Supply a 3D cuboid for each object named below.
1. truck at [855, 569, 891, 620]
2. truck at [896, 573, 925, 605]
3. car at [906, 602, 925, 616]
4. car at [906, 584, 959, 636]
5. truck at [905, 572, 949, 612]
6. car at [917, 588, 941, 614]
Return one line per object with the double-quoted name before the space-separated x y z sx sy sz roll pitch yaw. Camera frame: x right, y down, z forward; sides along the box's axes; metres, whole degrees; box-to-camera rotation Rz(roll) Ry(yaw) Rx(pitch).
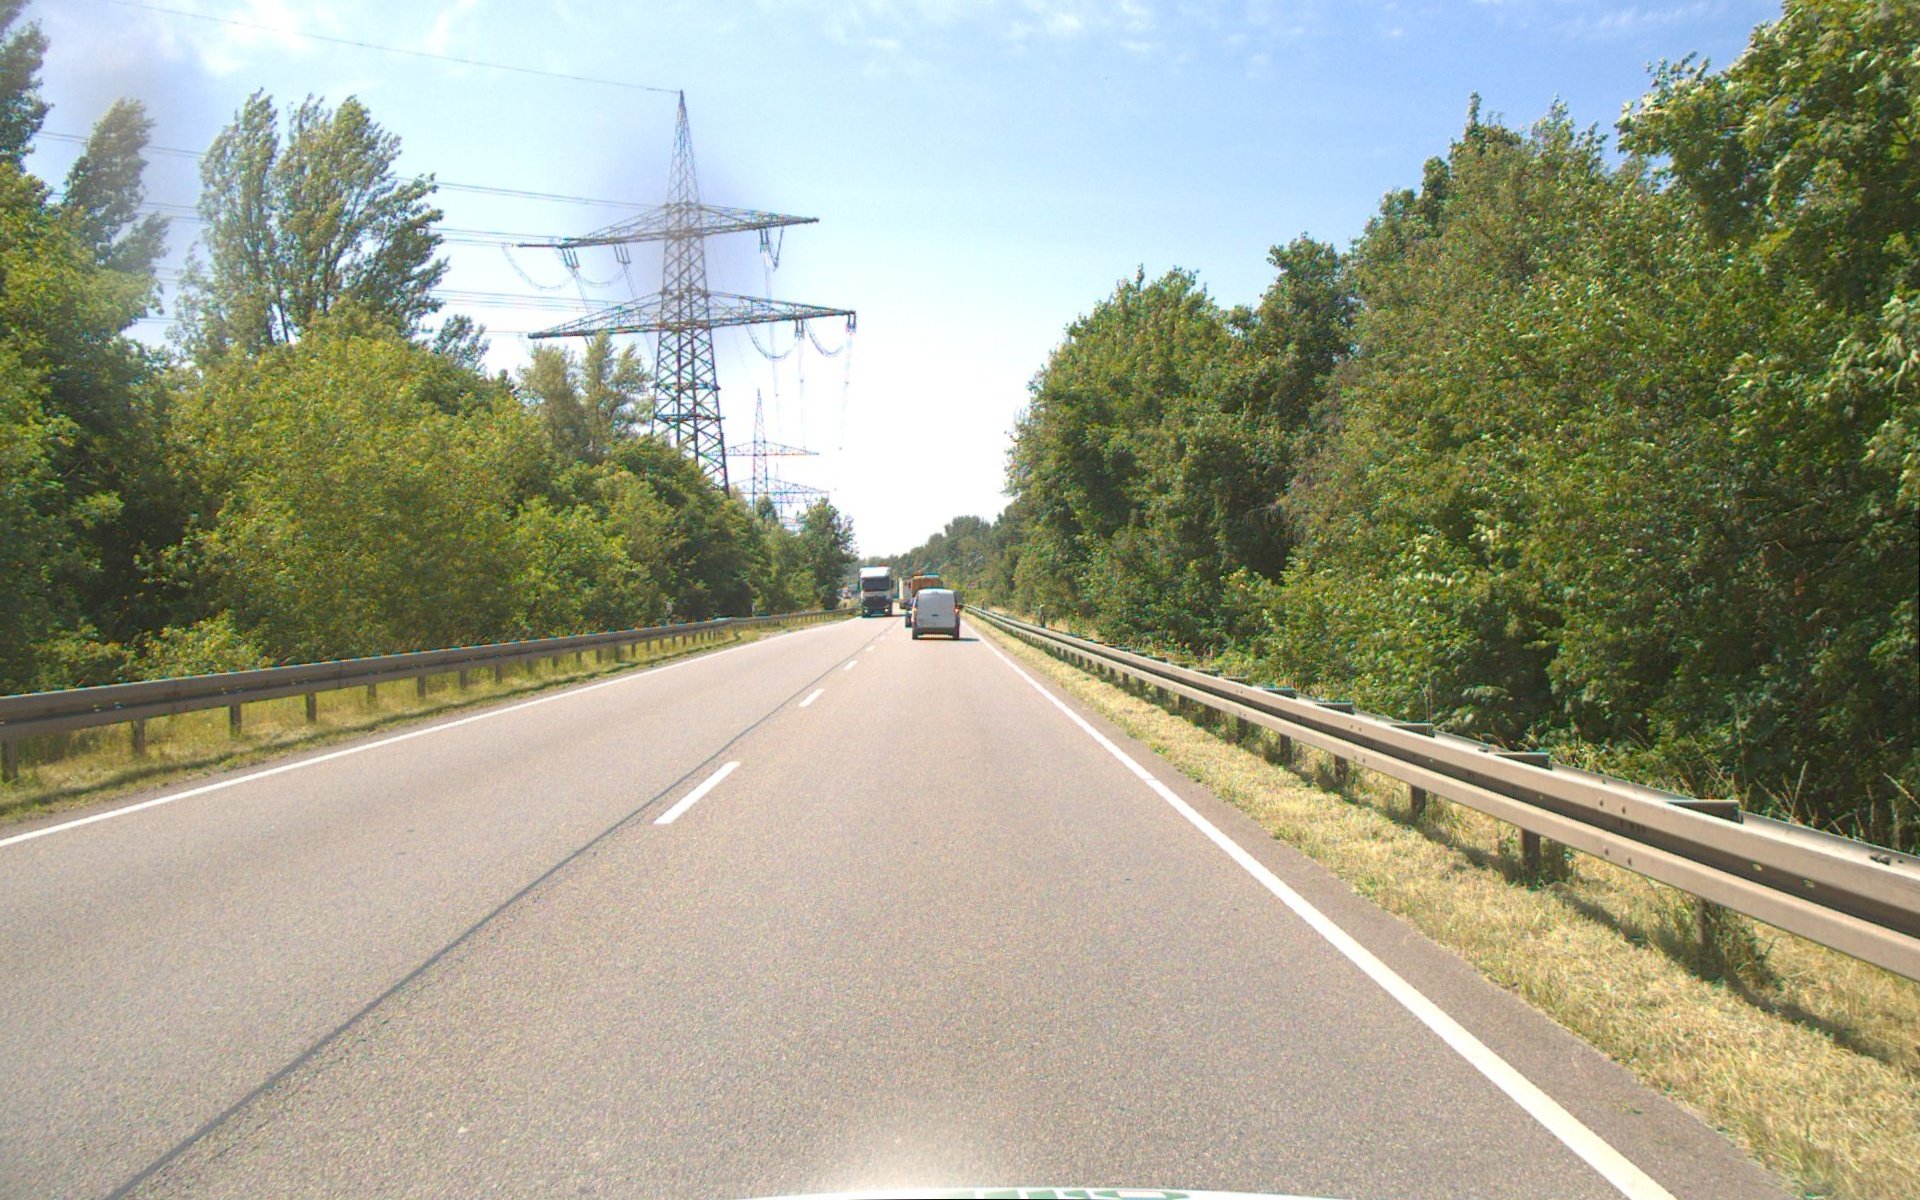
"truck" -7.117 -0.419 136.193 2.707 4.069 5.905 1 0 -1
"truck" -6.604 -1.560 219.432 3.335 3.922 16.807 1 1 -3
"car" -5.006 1.022 186.727 1.954 1.553 3.998 -2 0 -3
"car" -1.017 0.329 60.535 1.837 1.772 3.999 1 1 -1
"truck" -2.968 -0.788 143.230 3.231 3.227 14.396 1 1 -3
"car" -2.485 0.057 131.727 1.728 2.049 3.997 0 0 -3
